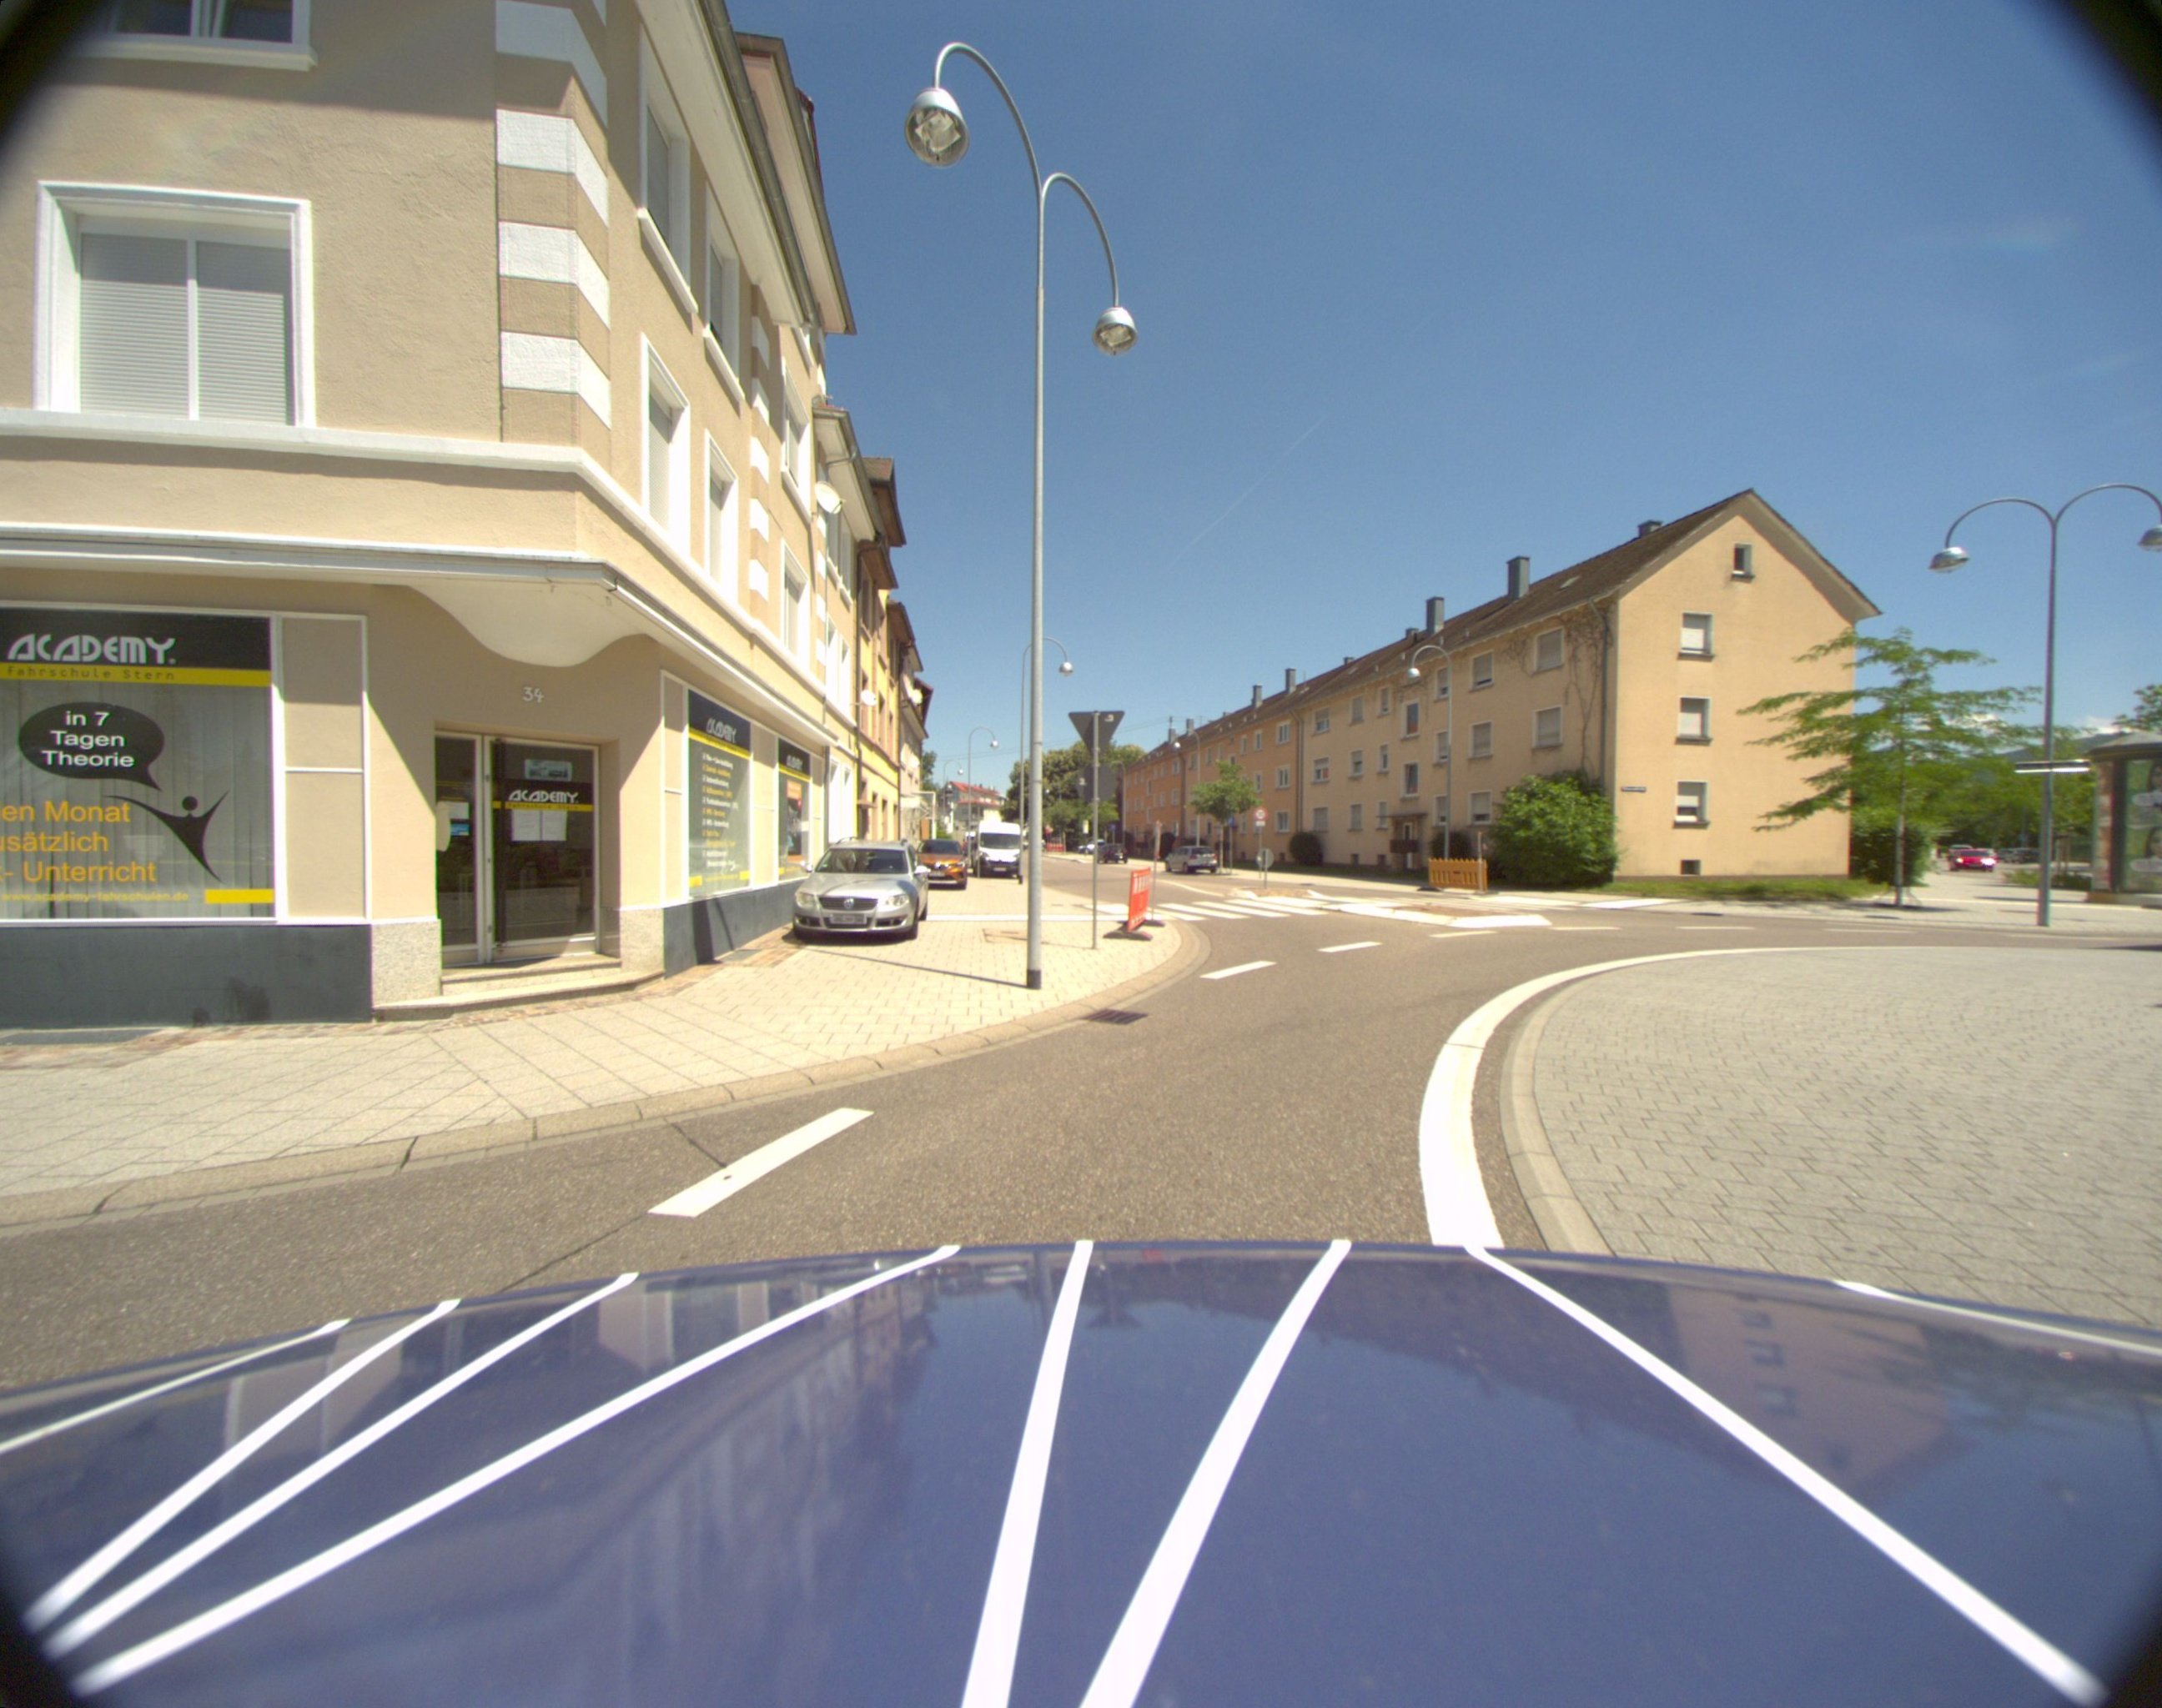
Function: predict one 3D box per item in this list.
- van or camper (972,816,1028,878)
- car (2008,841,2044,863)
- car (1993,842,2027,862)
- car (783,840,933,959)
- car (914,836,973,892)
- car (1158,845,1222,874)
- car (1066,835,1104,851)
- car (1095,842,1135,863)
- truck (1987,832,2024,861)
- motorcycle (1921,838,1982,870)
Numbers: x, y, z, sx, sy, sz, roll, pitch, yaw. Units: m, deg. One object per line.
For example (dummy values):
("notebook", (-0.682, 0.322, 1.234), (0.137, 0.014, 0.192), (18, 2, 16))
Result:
("van or camper", (-3.838, -0.342, 34.968), (2.172, 2.574, 5.759), (1, 1, -10))
("car", (89.512, -0.207, 72.019), (4.008, 2.002, 1.994), (-1, 2, -41))
("car", (92.902, -0.220, 76.013), (4.008, 2.002, 1.994), (-1, 2, -41))
("car", (-3.495, 0.591, 12.724), (1.770, 1.521, 4.684), (1, 2, -9))
("car", (-4.436, 0.275, 24.858), (1.678, 1.610, 4.359), (2, 1, -8))
("car", (5.926, 0.263, 41.897), (2.001, 1.412, 4.082), (-1, 1, -16))
("car", (0.475, -1.365, 96.286), (4.442, 1.864, 1.815), (-2, 2, -21))
("car", (2.541, -0.151, 57.918), (1.864, 1.498, 4.556), (-2, 1, -13))
("truck", (106.131, -0.895, 87.312), (8.466, 3.162, 2.484), (-1, 2, -41))
("motorcycle", (57.230, -0.046, 50.023), (1.994, 2.002, 4.008), (1, 2, 40))
